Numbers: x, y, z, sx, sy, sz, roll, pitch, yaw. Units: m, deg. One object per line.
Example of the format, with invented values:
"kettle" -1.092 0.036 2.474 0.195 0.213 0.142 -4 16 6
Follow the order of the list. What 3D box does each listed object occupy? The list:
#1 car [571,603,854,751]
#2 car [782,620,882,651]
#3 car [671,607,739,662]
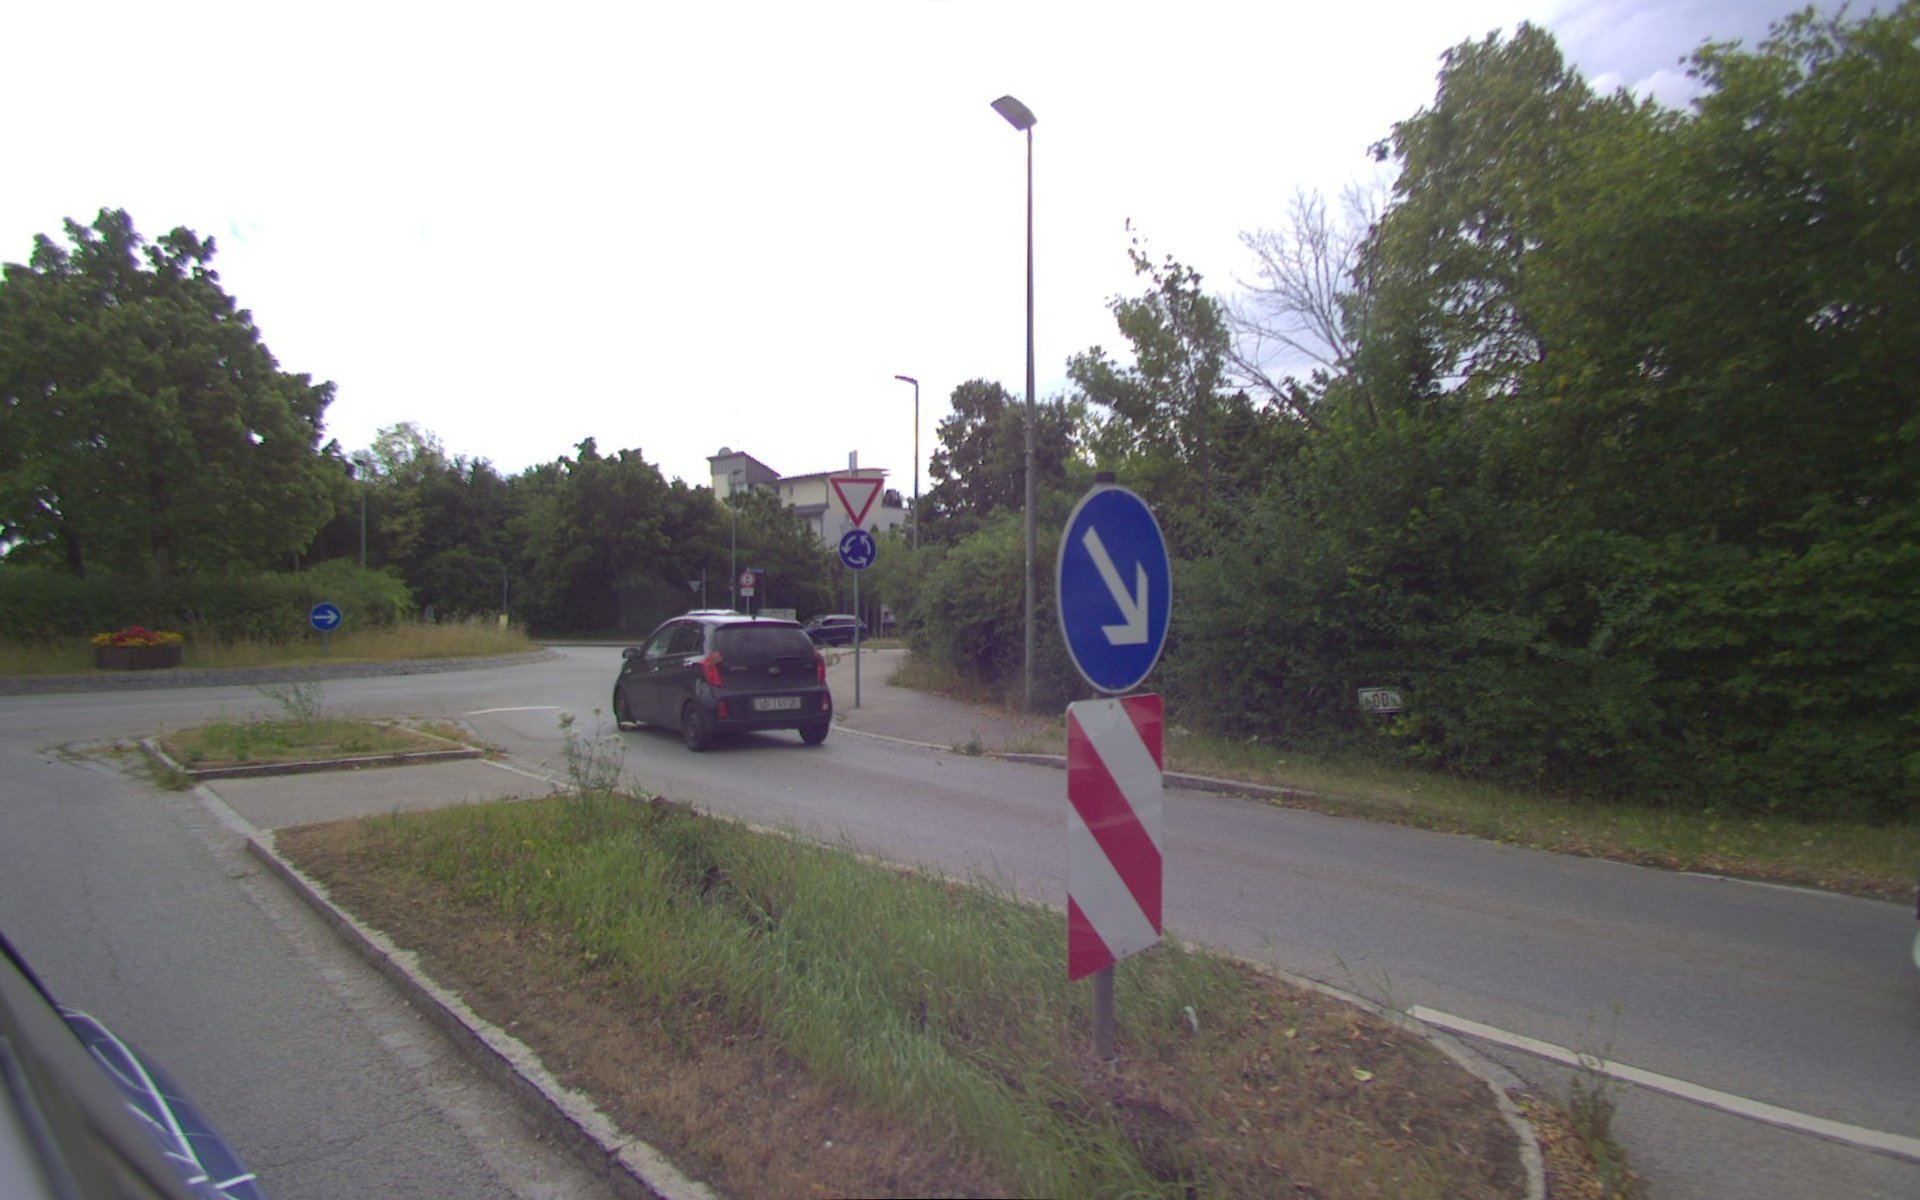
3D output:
"car" -3.102 0.837 12.155 1.661 1.465 4.006 3 -3 -40
"car" -6.005 1.655 47.887 1.559 1.300 4.757 -1 -1 45
"car" -7.139 0.955 28.648 1.660 1.434 4.009 0 -2 -11
